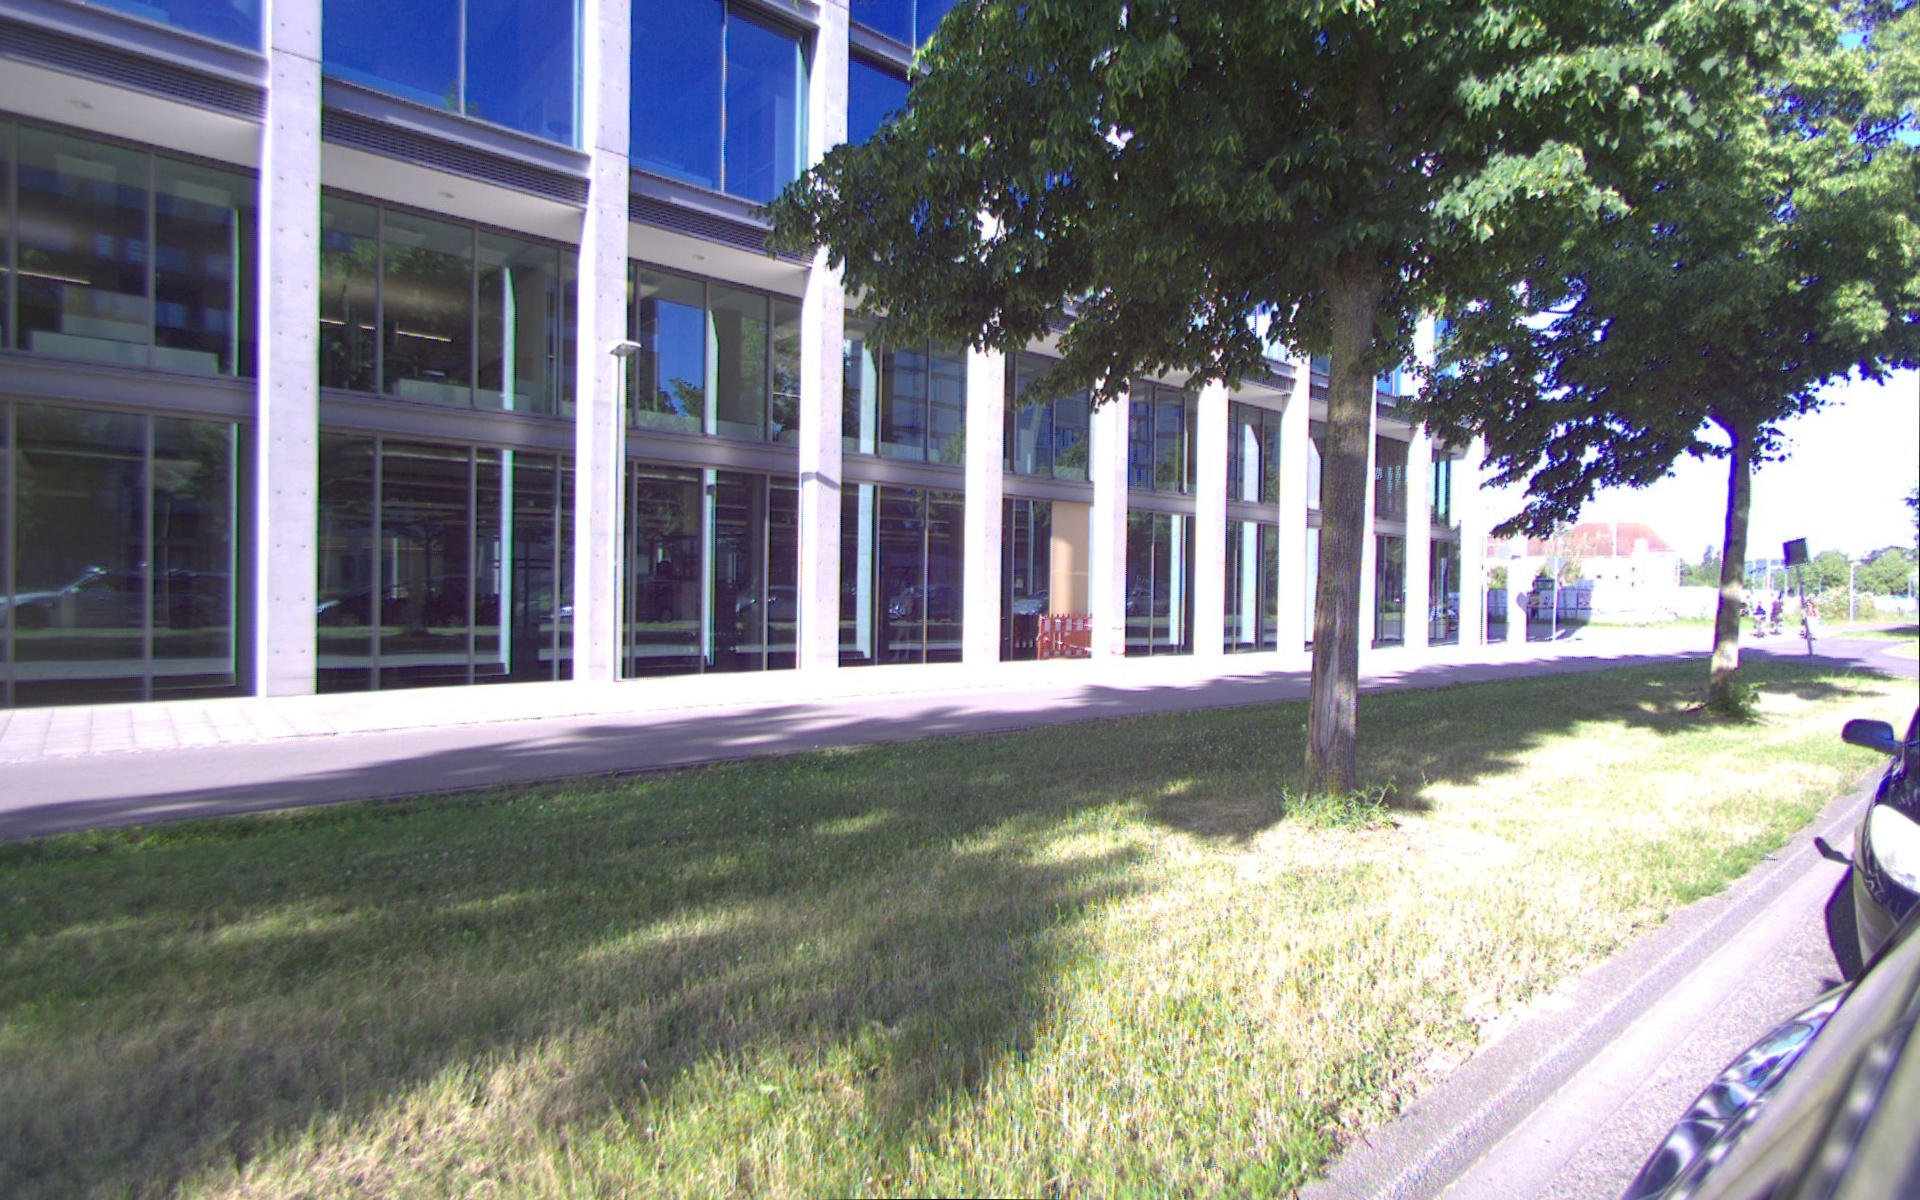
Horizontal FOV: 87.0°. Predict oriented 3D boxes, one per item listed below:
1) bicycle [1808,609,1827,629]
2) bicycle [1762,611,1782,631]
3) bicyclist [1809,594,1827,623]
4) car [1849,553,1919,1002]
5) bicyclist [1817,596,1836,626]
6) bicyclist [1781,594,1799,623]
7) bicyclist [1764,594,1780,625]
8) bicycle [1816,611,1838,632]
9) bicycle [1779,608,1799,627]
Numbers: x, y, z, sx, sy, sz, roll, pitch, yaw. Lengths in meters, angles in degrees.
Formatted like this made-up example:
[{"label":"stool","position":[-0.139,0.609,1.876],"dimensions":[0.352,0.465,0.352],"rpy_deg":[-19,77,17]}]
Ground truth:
[{"label":"bicycle","position":[38.312,0.848,45.208],"dimensions":[1.321,0.828,0.464],"rpy_deg":[-1,0,-40]},{"label":"bicycle","position":[34.436,0.879,42.919],"dimensions":[1.296,0.828,0.415],"rpy_deg":[-1,0,-40]},{"label":"bicyclist","position":[38.376,0.367,45.245],"dimensions":[0.512,1.305,0.534],"rpy_deg":[0,0,-40]},{"label":"car","position":[5.127,0.619,4.186],"dimensions":[3.719,1.541,1.685],"rpy_deg":[0,1,-41]},{"label":"bicyclist","position":[35.841,0.450,41.851],"dimensions":[0.498,1.232,0.534],"rpy_deg":[0,0,-40]},{"label":"bicyclist","position":[37.470,0.367,45.693],"dimensions":[0.449,1.305,0.534],"rpy_deg":[0,0,-40]},{"label":"bicyclist","position":[34.458,0.410,42.960],"dimensions":[0.410,1.305,0.448],"rpy_deg":[0,0,-40]},{"label":"bicycle","position":[35.825,0.882,41.818],"dimensions":[1.321,0.828,0.464],"rpy_deg":[-1,0,-40]},{"label":"bicycle","position":[37.463,0.804,45.739],"dimensions":[1.321,0.828,0.464],"rpy_deg":[-1,0,-40]}]
